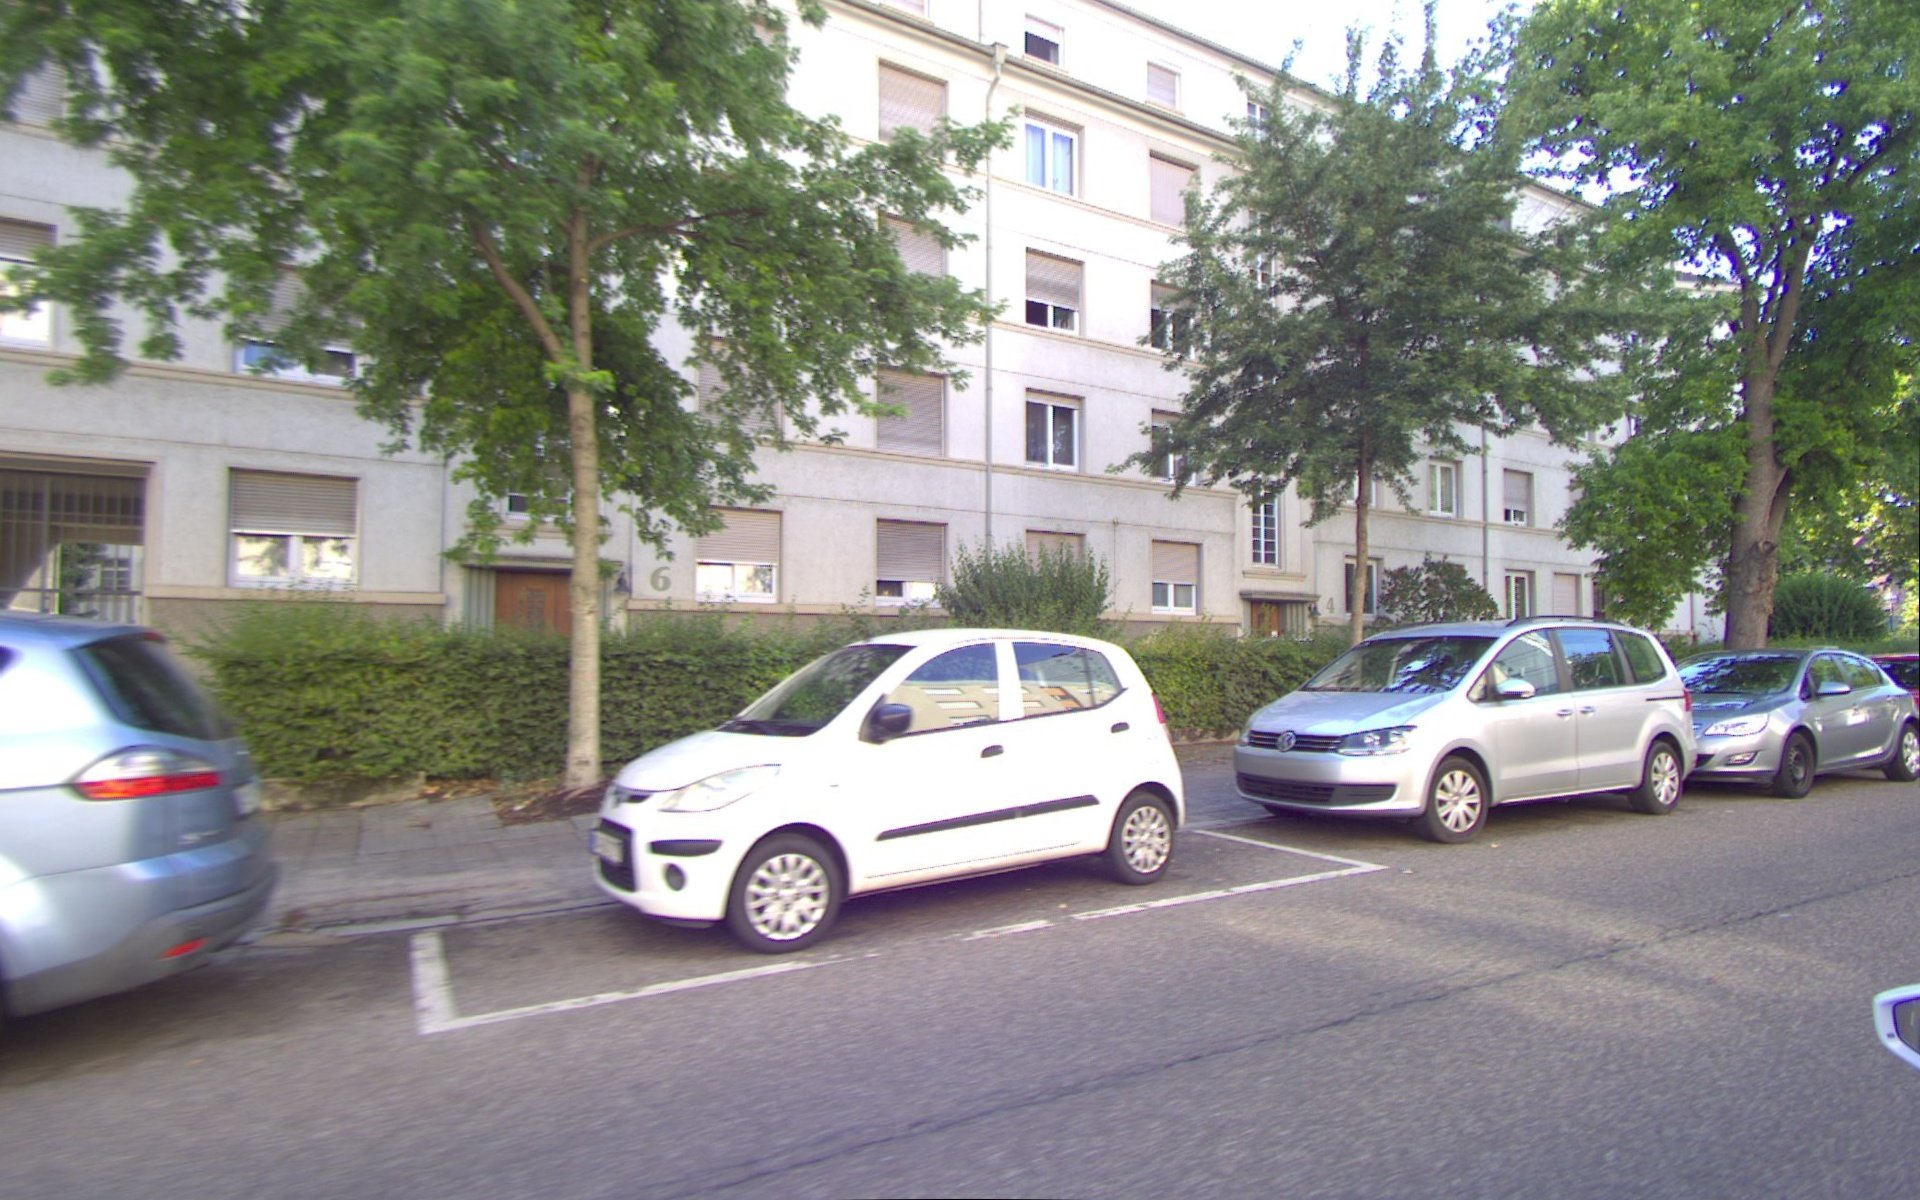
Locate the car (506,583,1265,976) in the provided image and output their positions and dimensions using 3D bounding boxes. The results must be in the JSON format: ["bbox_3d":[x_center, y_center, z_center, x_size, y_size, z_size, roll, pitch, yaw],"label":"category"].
[{"bbox_3d":[-0.348,0.858,5.917,4.053,1.578,1.862,3,-5,-31],"label":"car"}]

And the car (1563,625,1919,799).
[{"bbox_3d":[8.890,1.168,11.142,4.445,1.578,1.862,3,-5,-31],"label":"car"}]

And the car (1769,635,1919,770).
[{"bbox_3d":[12.927,1.329,13.558,3.954,1.579,1.862,3,-2,-31],"label":"car"}]

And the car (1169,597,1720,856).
[{"bbox_3d":[4.310,0.974,8.720,4.917,1.699,1.907,3,-4,-31],"label":"car"}]

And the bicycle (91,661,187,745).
[{"bbox_3d":[-12.918,1.583,15.878,0.489,1.126,2.223,2,-1,-22],"label":"bicycle"}]

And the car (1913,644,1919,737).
[{"bbox_3d":[17.125,1.488,16.057,4.081,1.458,1.695,3,-2,-31],"label":"car"}]

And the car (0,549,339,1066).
[{"bbox_3d":[-4.862,0.704,3.035,4.998,1.577,1.863,1,-7,-31],"label":"car"}]
